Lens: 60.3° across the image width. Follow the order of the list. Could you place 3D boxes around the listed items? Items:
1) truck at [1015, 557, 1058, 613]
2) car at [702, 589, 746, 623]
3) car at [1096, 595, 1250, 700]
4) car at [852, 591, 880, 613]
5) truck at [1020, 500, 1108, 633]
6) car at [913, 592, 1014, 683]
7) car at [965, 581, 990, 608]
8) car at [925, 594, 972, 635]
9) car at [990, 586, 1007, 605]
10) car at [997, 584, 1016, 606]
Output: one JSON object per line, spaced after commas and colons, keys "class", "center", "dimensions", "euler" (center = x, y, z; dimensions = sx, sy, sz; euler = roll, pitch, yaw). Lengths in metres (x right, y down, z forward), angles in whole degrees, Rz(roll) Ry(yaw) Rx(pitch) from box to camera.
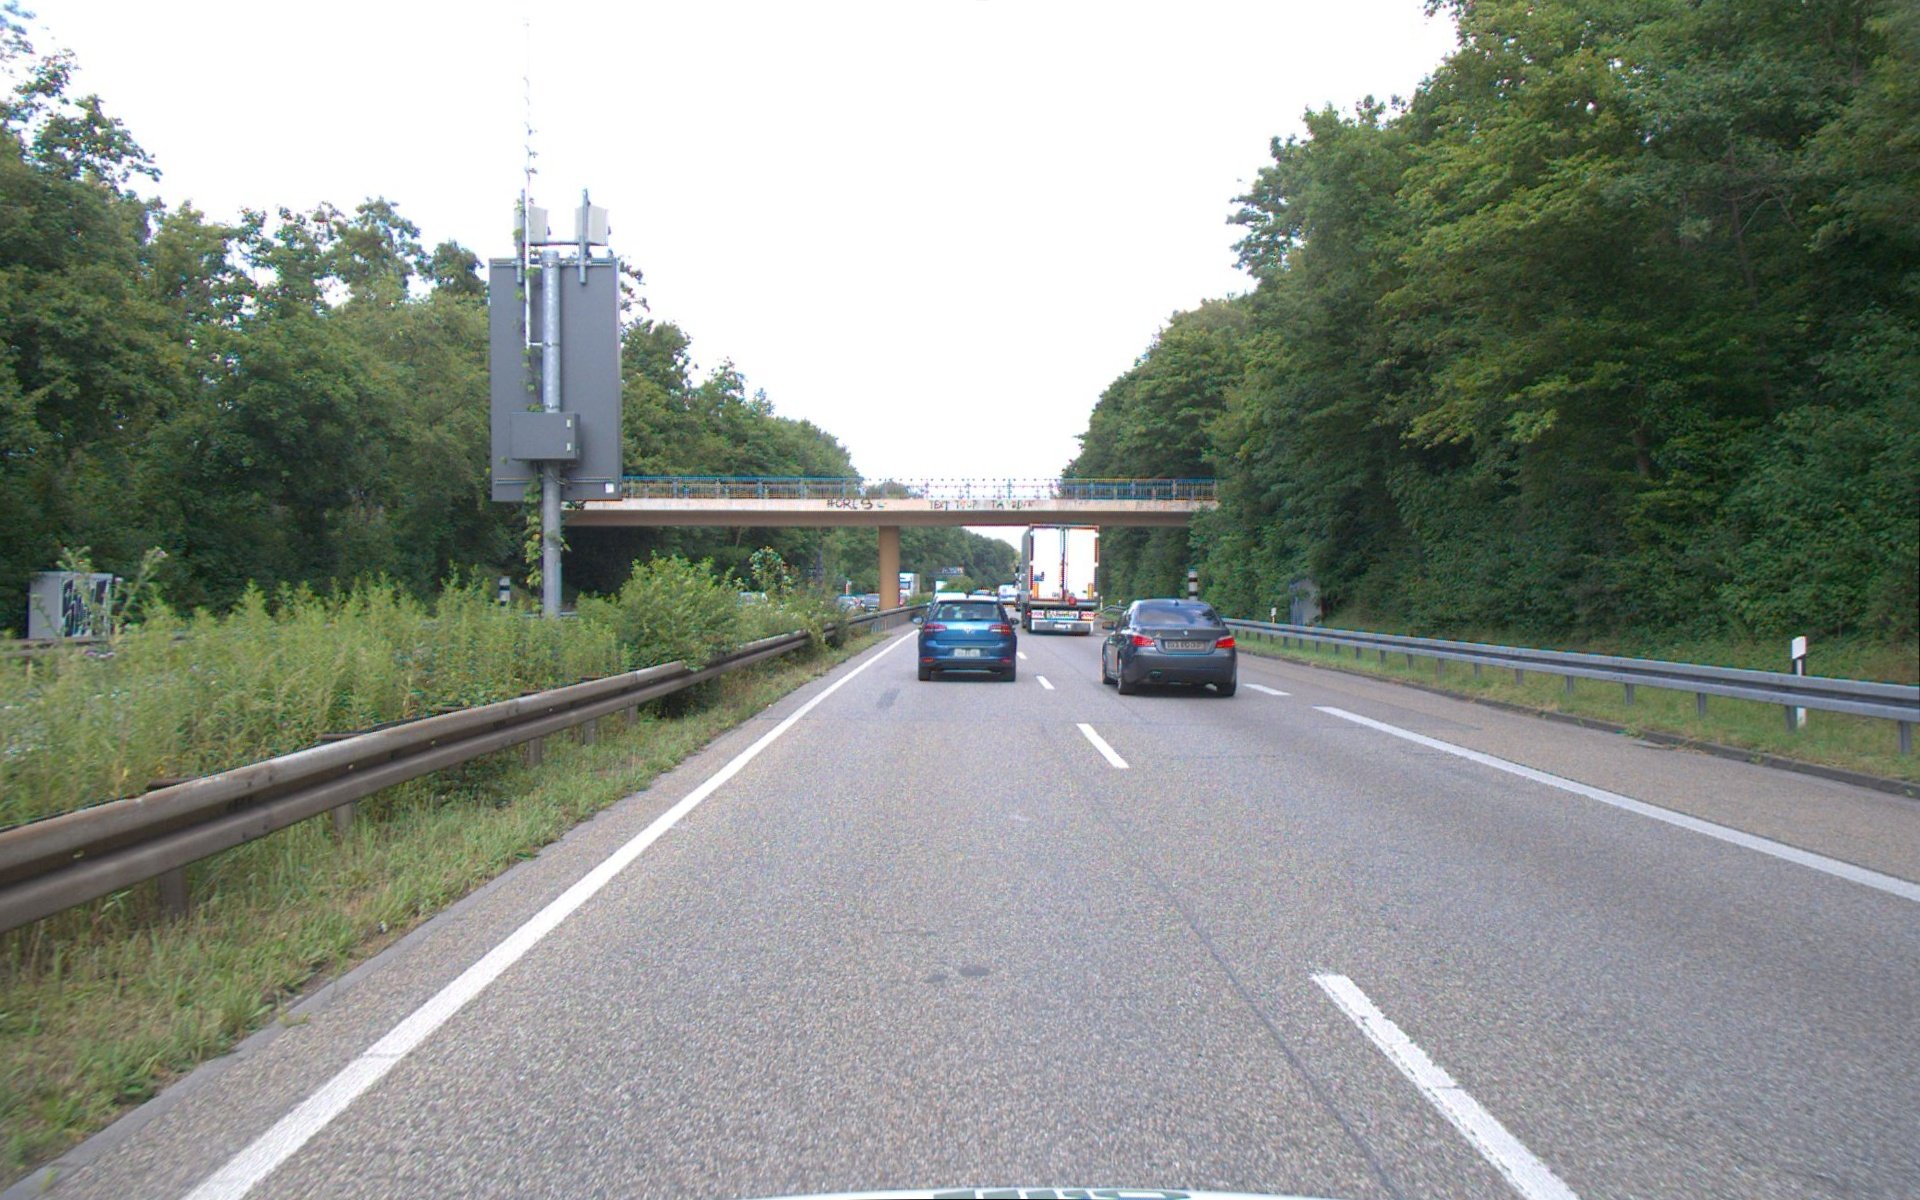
{"class": "truck", "center": [6.384, -1.170, 140.426], "dimensions": [3.165, 4.463, 12.971], "euler": [1, 0, 1]}
{"class": "car", "center": [-12.837, 0.299, 90.317], "dimensions": [1.749, 1.769, 4.880], "euler": [-1, 0, -1]}
{"class": "car", "center": [3.314, 0.690, 26.610], "dimensions": [1.738, 1.501, 4.879], "euler": [1, 0, -1]}
{"class": "car", "center": [-6.938, 0.134, 122.435], "dimensions": [1.827, 1.617, 4.565], "euler": [-1, 0, 0]}
{"class": "truck", "center": [3.984, -1.265, 65.563], "dimensions": [3.174, 4.798, 11.010], "euler": [0, 0, 2]}
{"class": "car", "center": [0.113, 0.622, 29.823], "dimensions": [1.670, 1.495, 4.001], "euler": [1, 0, 1]}
{"class": "car", "center": [1.392, -0.438, 129.797], "dimensions": [1.913, 2.049, 4.001], "euler": [-1, 0, 1]}
{"class": "car", "center": [-0.416, 0.548, 65.139], "dimensions": [1.631, 1.526, 4.153], "euler": [1, 0, 2]}
{"class": "car", "center": [4.680, -0.547, 203.048], "dimensions": [1.953, 2.368, 4.442], "euler": [0, 0, 0]}
{"class": "car", "center": [4.991, -0.510, 177.468], "dimensions": [1.953, 2.294, 4.442], "euler": [0, 0, 0]}
